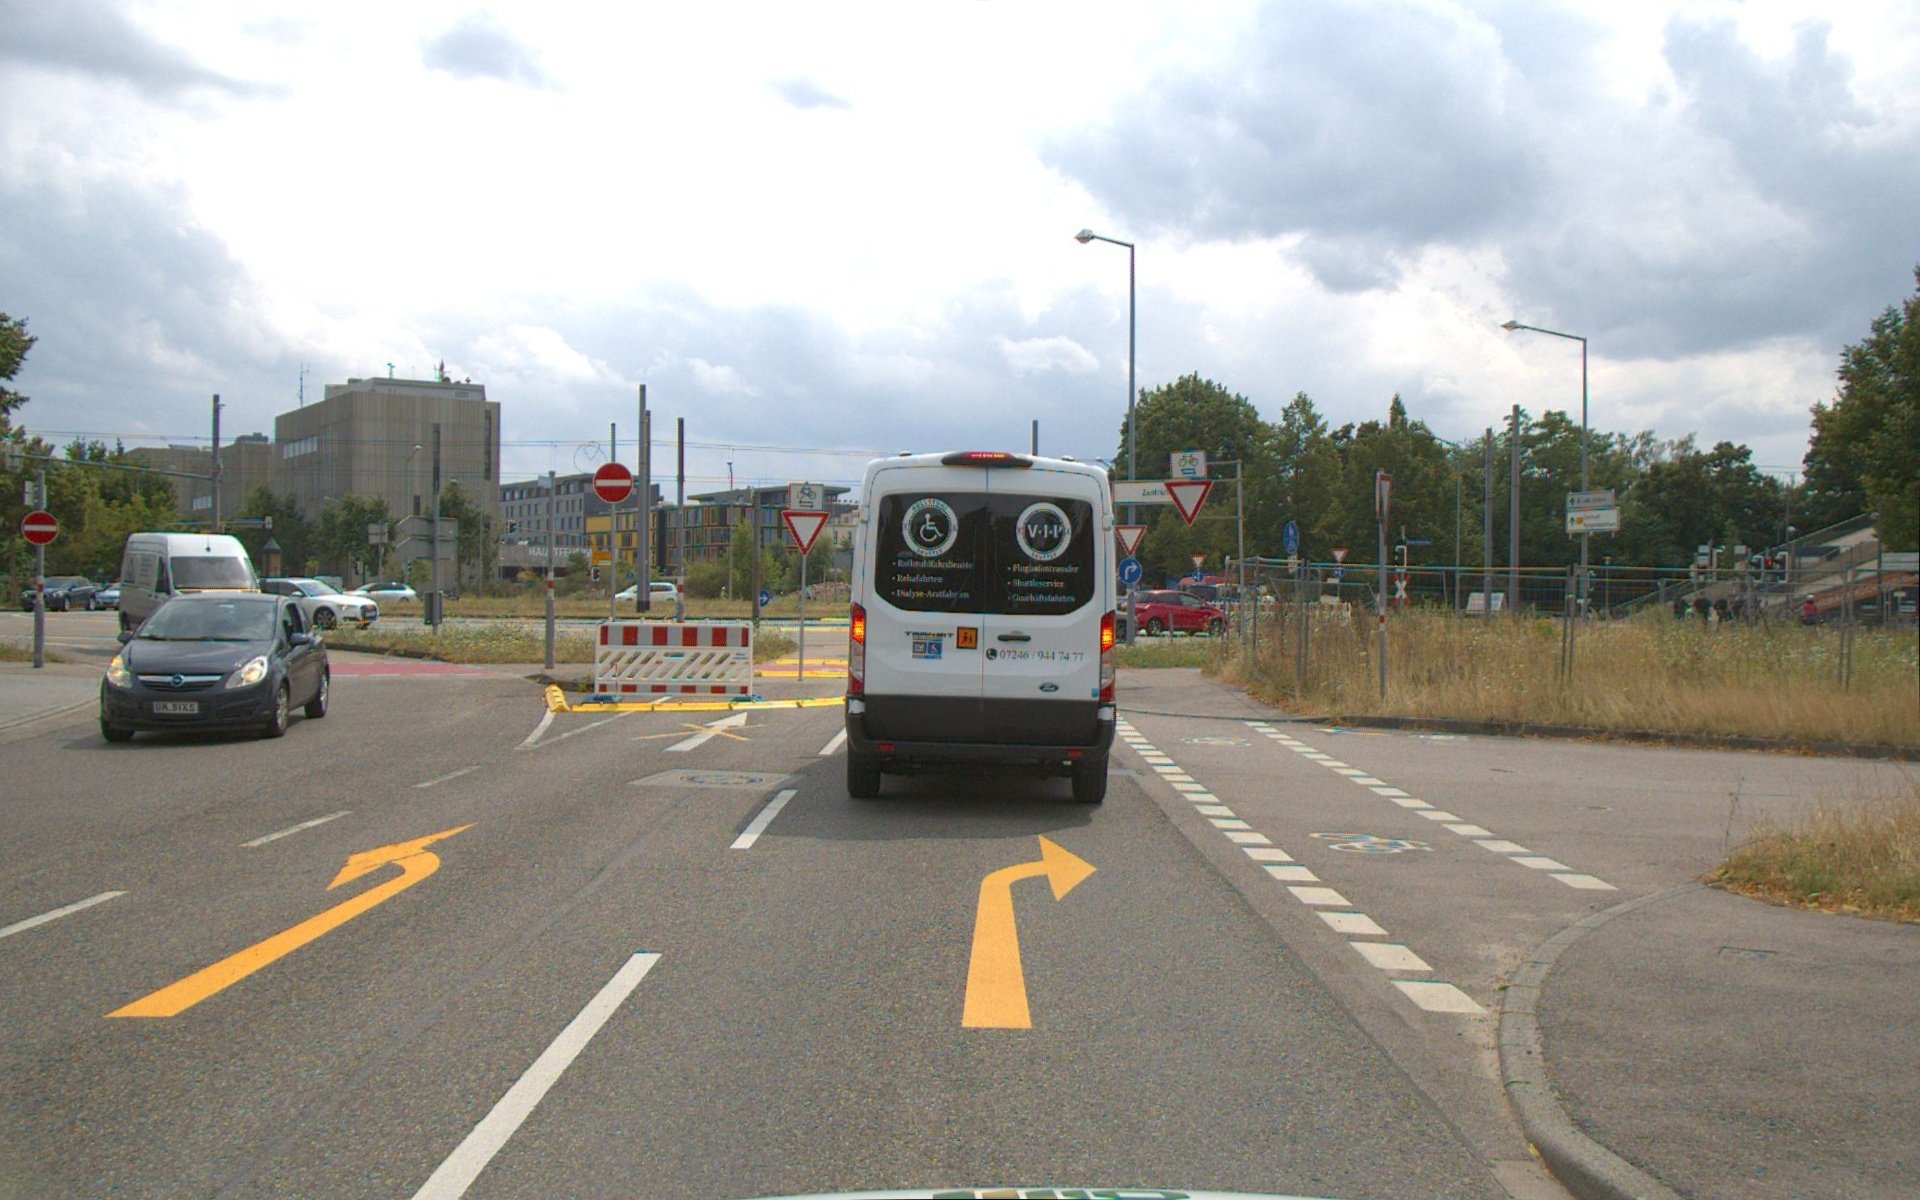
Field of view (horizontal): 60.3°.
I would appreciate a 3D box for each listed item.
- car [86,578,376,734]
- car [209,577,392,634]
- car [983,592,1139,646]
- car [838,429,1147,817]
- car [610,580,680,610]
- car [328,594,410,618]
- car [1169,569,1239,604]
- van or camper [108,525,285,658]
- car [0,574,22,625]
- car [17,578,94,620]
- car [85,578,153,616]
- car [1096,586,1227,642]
[{"bbox_3d":[-7.811,0.534,18.159,1.738,1.504,4.250,0,0,-7],"label":"car"},{"bbox_3d":[-19.702,0.157,49.452,4.920,1.606,1.866,1,0,15],"label":"car"},{"bbox_3d":[2.932,0.528,47.868,4.286,1.377,1.609,-2,1,-25],"label":"car"},{"bbox_3d":[0.221,0.157,13.437,2.021,2.584,4.000,3,0,0],"label":"car"},{"bbox_3d":[-19.786,-0.326,103.824,3.954,1.802,1.746,-2,1,-35],"label":"car"},{"bbox_3d":[-32.876,0.344,92.047,1.657,1.213,3.973,-1,1,44],"label":"car"},{"bbox_3d":[13.572,-0.738,92.227,1.978,1.848,4.384,-2,1,-21],"label":"car"},{"bbox_3d":[-17.419,-0.204,37.537,2.136,2.772,6.188,-2,1,-39],"label":"van or camper"},{"bbox_3d":[-35.503,0.009,59.617,1.985,1.802,3.935,-2,1,-44],"label":"car"},{"bbox_3d":[-41.200,-0.063,75.412,1.729,1.802,3.993,-2,1,-8],"label":"car"},{"bbox_3d":[-41.694,-0.153,82.092,1.729,1.802,3.993,-2,1,-8],"label":"car"},{"bbox_3d":[6.687,0.440,54.928,3.938,1.691,1.875,-2,1,-26],"label":"car"}]
